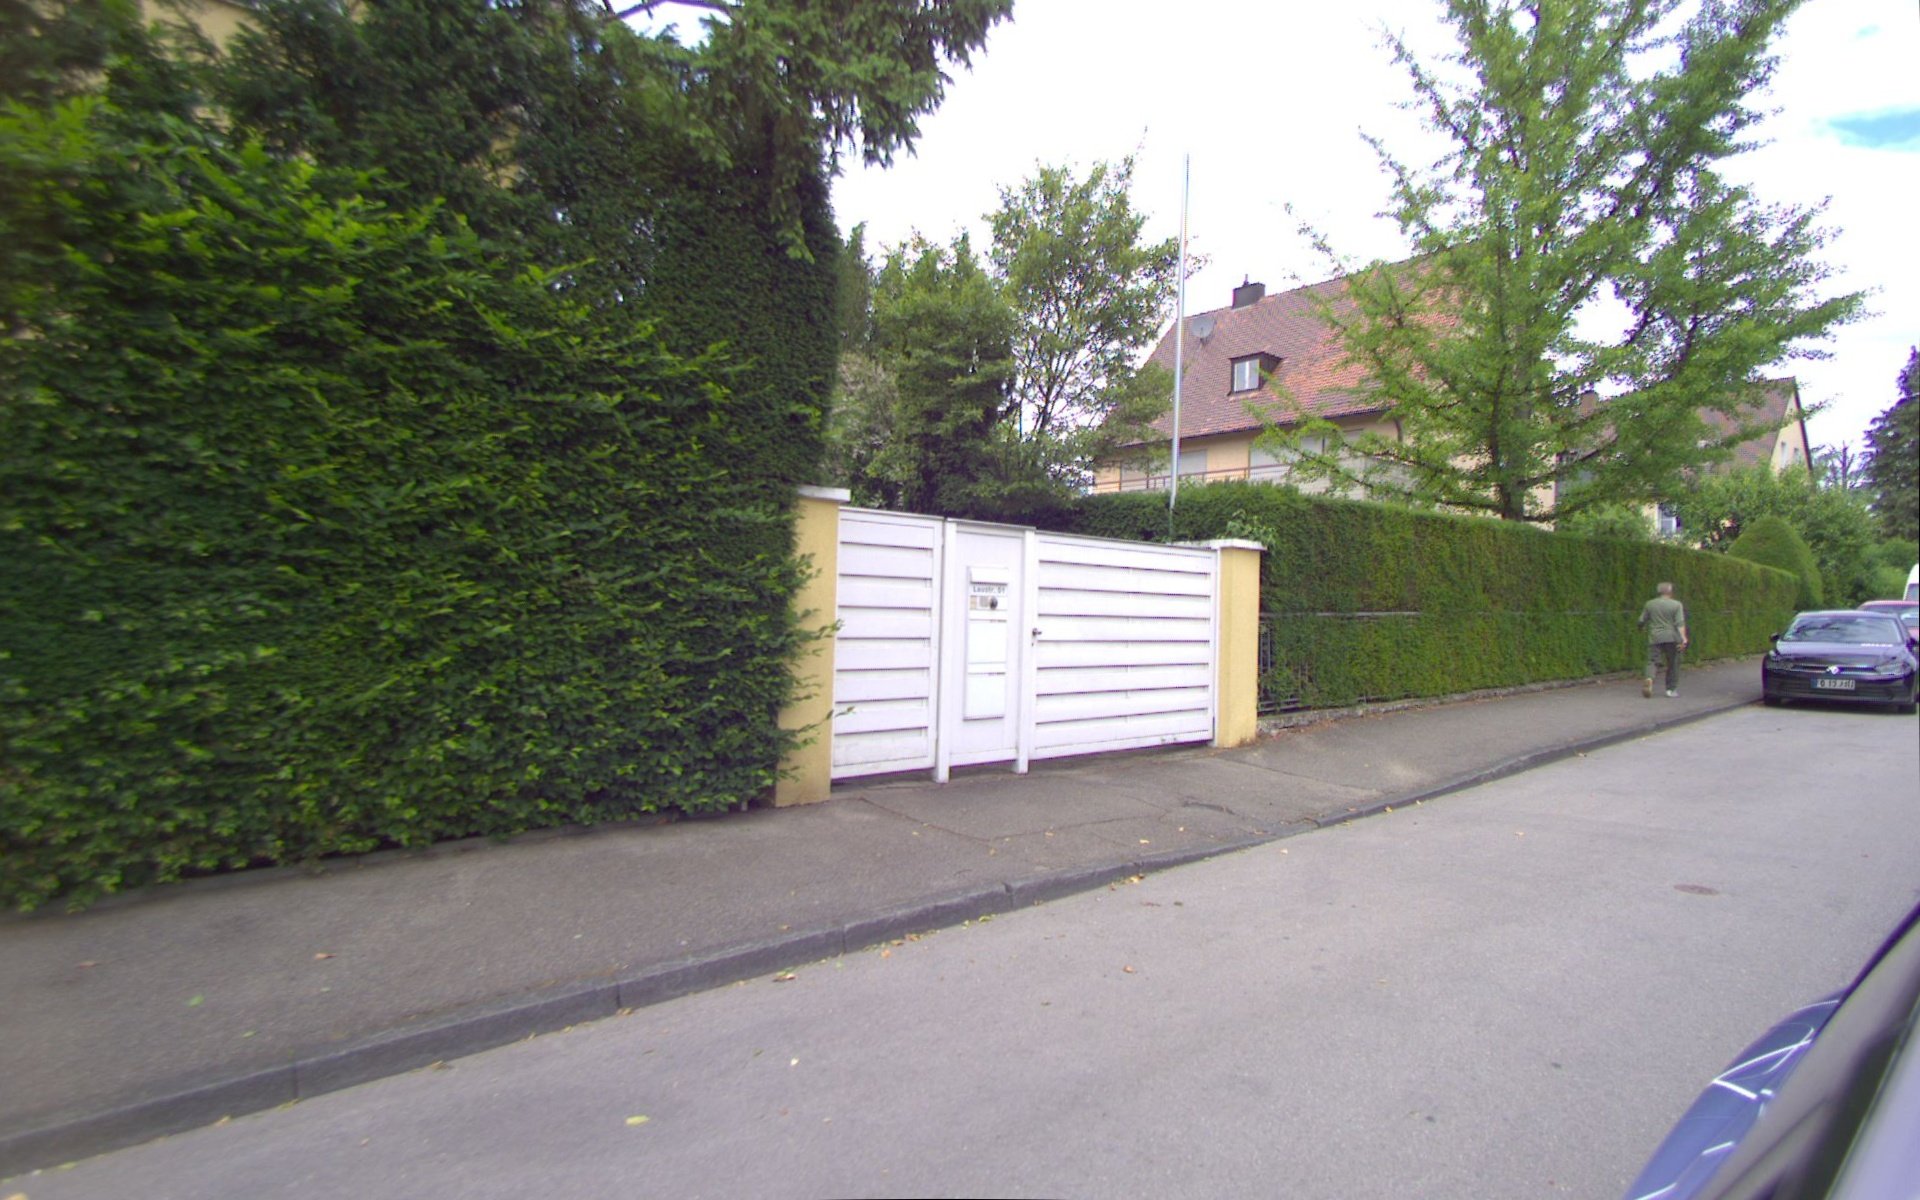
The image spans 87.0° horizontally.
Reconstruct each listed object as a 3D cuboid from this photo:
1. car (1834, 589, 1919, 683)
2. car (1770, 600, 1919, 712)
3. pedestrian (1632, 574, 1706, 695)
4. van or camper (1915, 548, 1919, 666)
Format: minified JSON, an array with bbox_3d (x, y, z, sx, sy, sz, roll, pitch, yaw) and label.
[{"bbox_3d":[18.380,0.644,19.272,4.681,1.600,1.893,0,2,-40],"label":"car"},{"bbox_3d":[13.719,0.748,15.397,3.987,1.424,1.680,0,2,-44],"label":"car"},{"bbox_3d":[10.474,0.485,14.955,0.902,1.719,0.670,1,1,-42],"label":"pedestrian"},{"bbox_3d":[24.832,0.140,24.494,6.920,2.653,2.043,0,-1,-43],"label":"van or camper"}]
